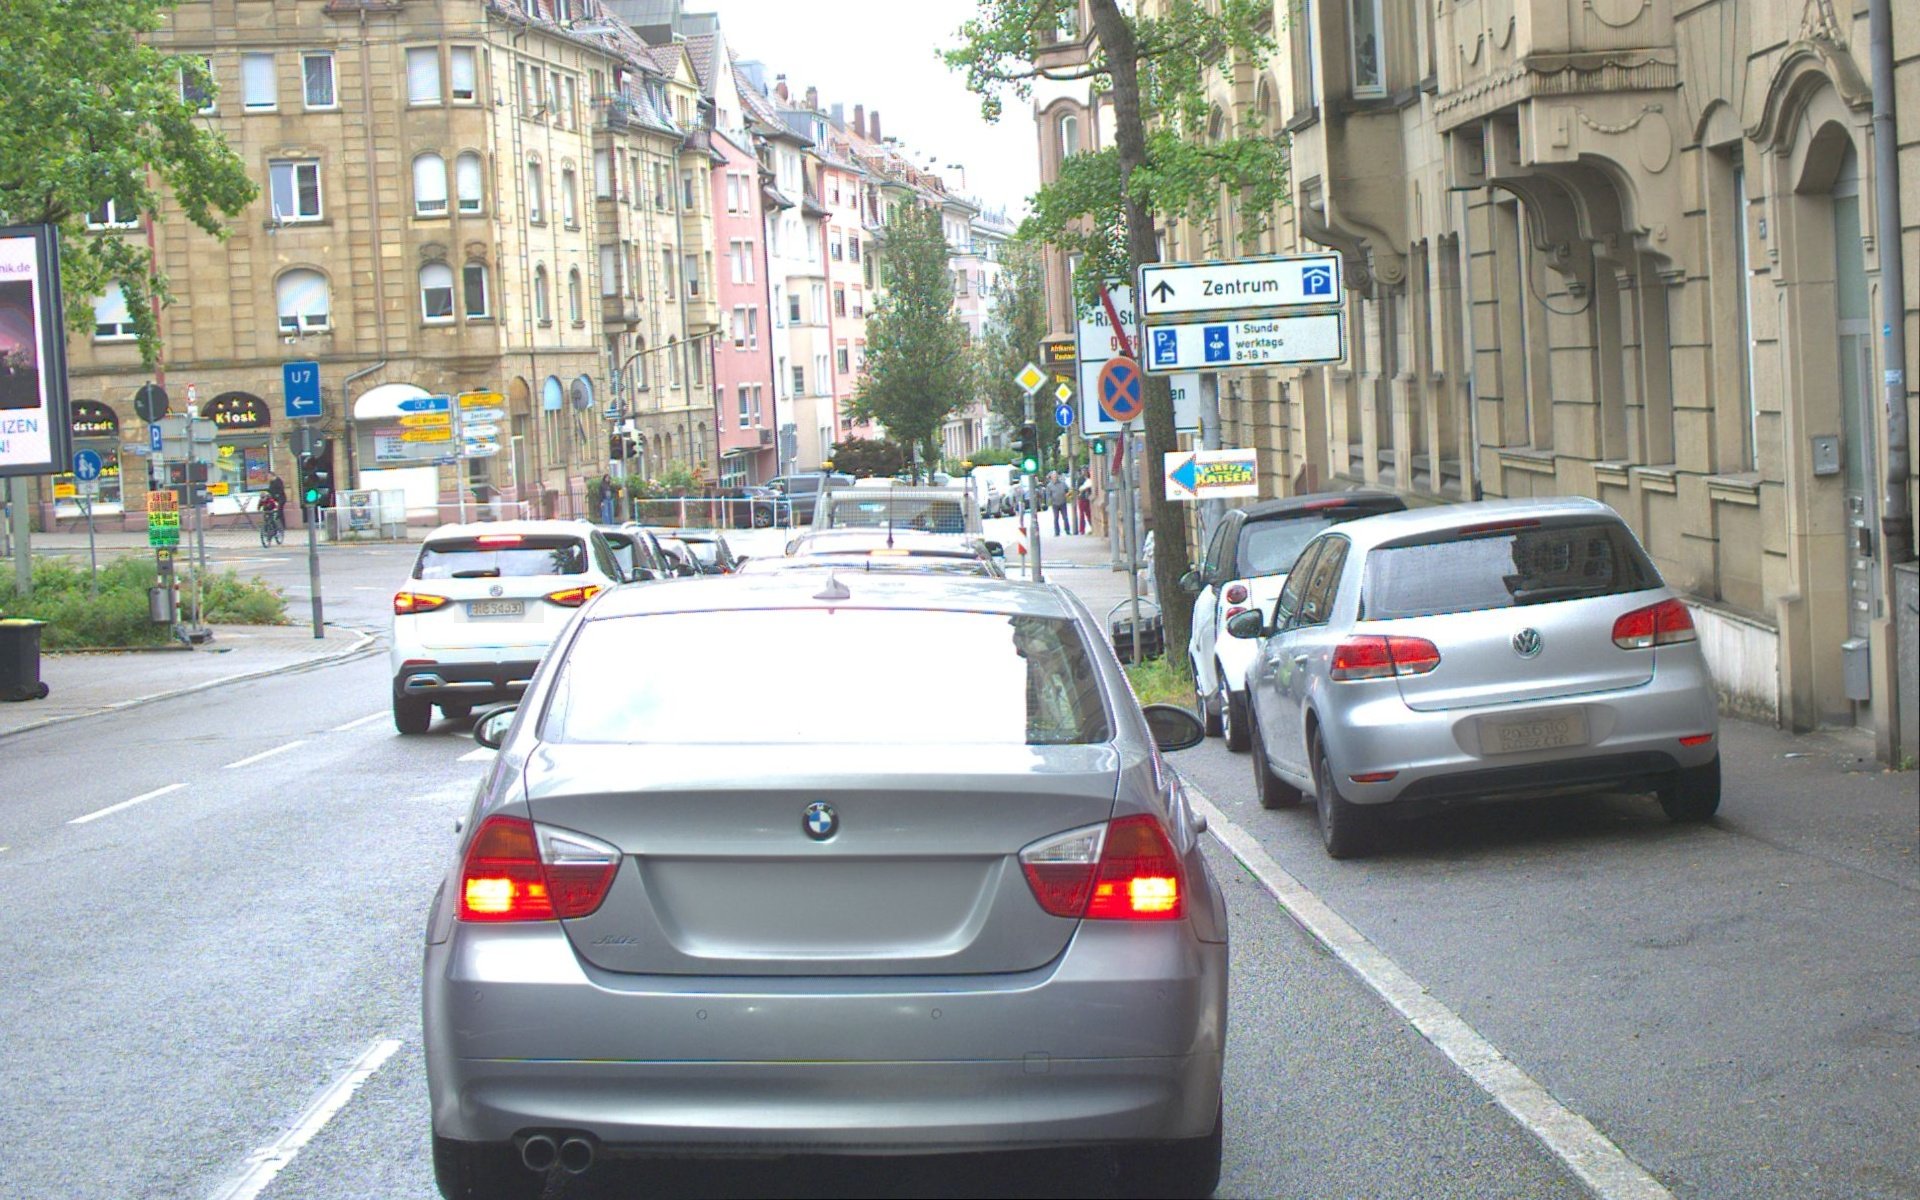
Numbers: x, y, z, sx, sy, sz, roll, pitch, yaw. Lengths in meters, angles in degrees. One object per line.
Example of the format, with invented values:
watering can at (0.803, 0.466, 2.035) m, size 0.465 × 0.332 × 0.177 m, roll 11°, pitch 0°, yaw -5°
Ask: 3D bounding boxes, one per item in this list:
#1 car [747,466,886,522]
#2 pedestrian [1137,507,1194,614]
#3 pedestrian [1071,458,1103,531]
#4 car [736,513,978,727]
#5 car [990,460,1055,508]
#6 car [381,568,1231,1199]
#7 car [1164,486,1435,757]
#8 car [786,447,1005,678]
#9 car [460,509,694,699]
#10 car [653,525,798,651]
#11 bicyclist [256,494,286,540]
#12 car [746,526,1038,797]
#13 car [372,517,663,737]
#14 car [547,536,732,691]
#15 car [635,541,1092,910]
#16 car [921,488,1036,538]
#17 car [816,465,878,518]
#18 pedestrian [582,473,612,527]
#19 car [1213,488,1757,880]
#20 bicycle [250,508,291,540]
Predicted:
car at (-5.402, -3.997, 130.024) m, size 5.176 × 2.007 × 2.699 m, roll 1°, pitch 1°, yaw -1°
pedestrian at (3.012, -0.588, 50.480) m, size 0.631 × 1.503 × 0.693 m, roll -6°, pitch 1°, yaw -1°
pedestrian at (3.329, -2.764, 90.117) m, size 0.742 × 1.903 × 0.659 m, roll -2°, pitch 1°, yaw -1°
car at (-0.751, 0.099, 27.483) m, size 1.759 × 1.562 × 4.000 m, roll -1°, pitch 1°, yaw 1°
car at (2.212, -4.075, 120.776) m, size 1.994 × 1.573 × 3.999 m, roll 1°, pitch 1°, yaw 5°
car at (-0.278, 0.650, 8.438) m, size 1.623 × 1.378 × 3.615 m, roll -1°, pitch 1°, yaw 1°
car at (2.183, 0.099, 22.698) m, size 1.299 × 1.537 × 2.976 m, roll -6°, pitch 1°, yaw -1°
car at (-0.615, -0.374, 33.480) m, size 1.993 × 2.099 × 4.000 m, roll 0°, pitch 1°, yaw -1°
car at (-3.628, -0.017, 33.182) m, size 1.759 × 1.702 × 4.000 m, roll -1°, pitch 1°, yaw 1°
car at (-3.342, -0.208, 49.542) m, size 1.759 × 1.702 × 4.000 m, roll -1°, pitch 1°, yaw 1°
bicyclist at (-19.099, -2.296, 95.338) m, size 0.569 × 1.268 × 0.689 m, roll 1°, pitch 0°, yaw 11°
car at (-0.353, 0.298, 20.899) m, size 1.595 × 1.459 × 4.000 m, roll 0°, pitch 1°, yaw 1°
car at (-3.488, 0.160, 27.743) m, size 1.868 × 1.620 × 4.000 m, roll -1°, pitch 1°, yaw -1°
car at (-3.749, 0.113, 40.813) m, size 1.759 × 1.702 × 4.000 m, roll -1°, pitch 1°, yaw 1°
car at (-0.355, 0.457, 15.370) m, size 1.759 × 1.378 × 4.000 m, roll -1°, pitch 1°, yaw 1°
car at (0.635, -2.880, 114.254) m, size 1.997 × 1.573 × 3.993 m, roll 1°, pitch 1°, yaw 32°
car at (-3.314, -3.182, 101.267) m, size 1.715 × 1.445 × 3.743 m, roll -2°, pitch 1°, yaw -1°
pedestrian at (-10.705, -2.943, 101.332) m, size 0.732 × 1.572 × 0.528 m, roll -2°, pitch 1°, yaw 8°
car at (2.328, 0.302, 16.267) m, size 1.759 × 1.446 × 4.000 m, roll -6°, pitch 1°, yaw -1°
bicycle at (-19.092, -2.104, 95.240) m, size 0.573 × 0.855 × 1.521 m, roll 1°, pitch 1°, yaw 11°
